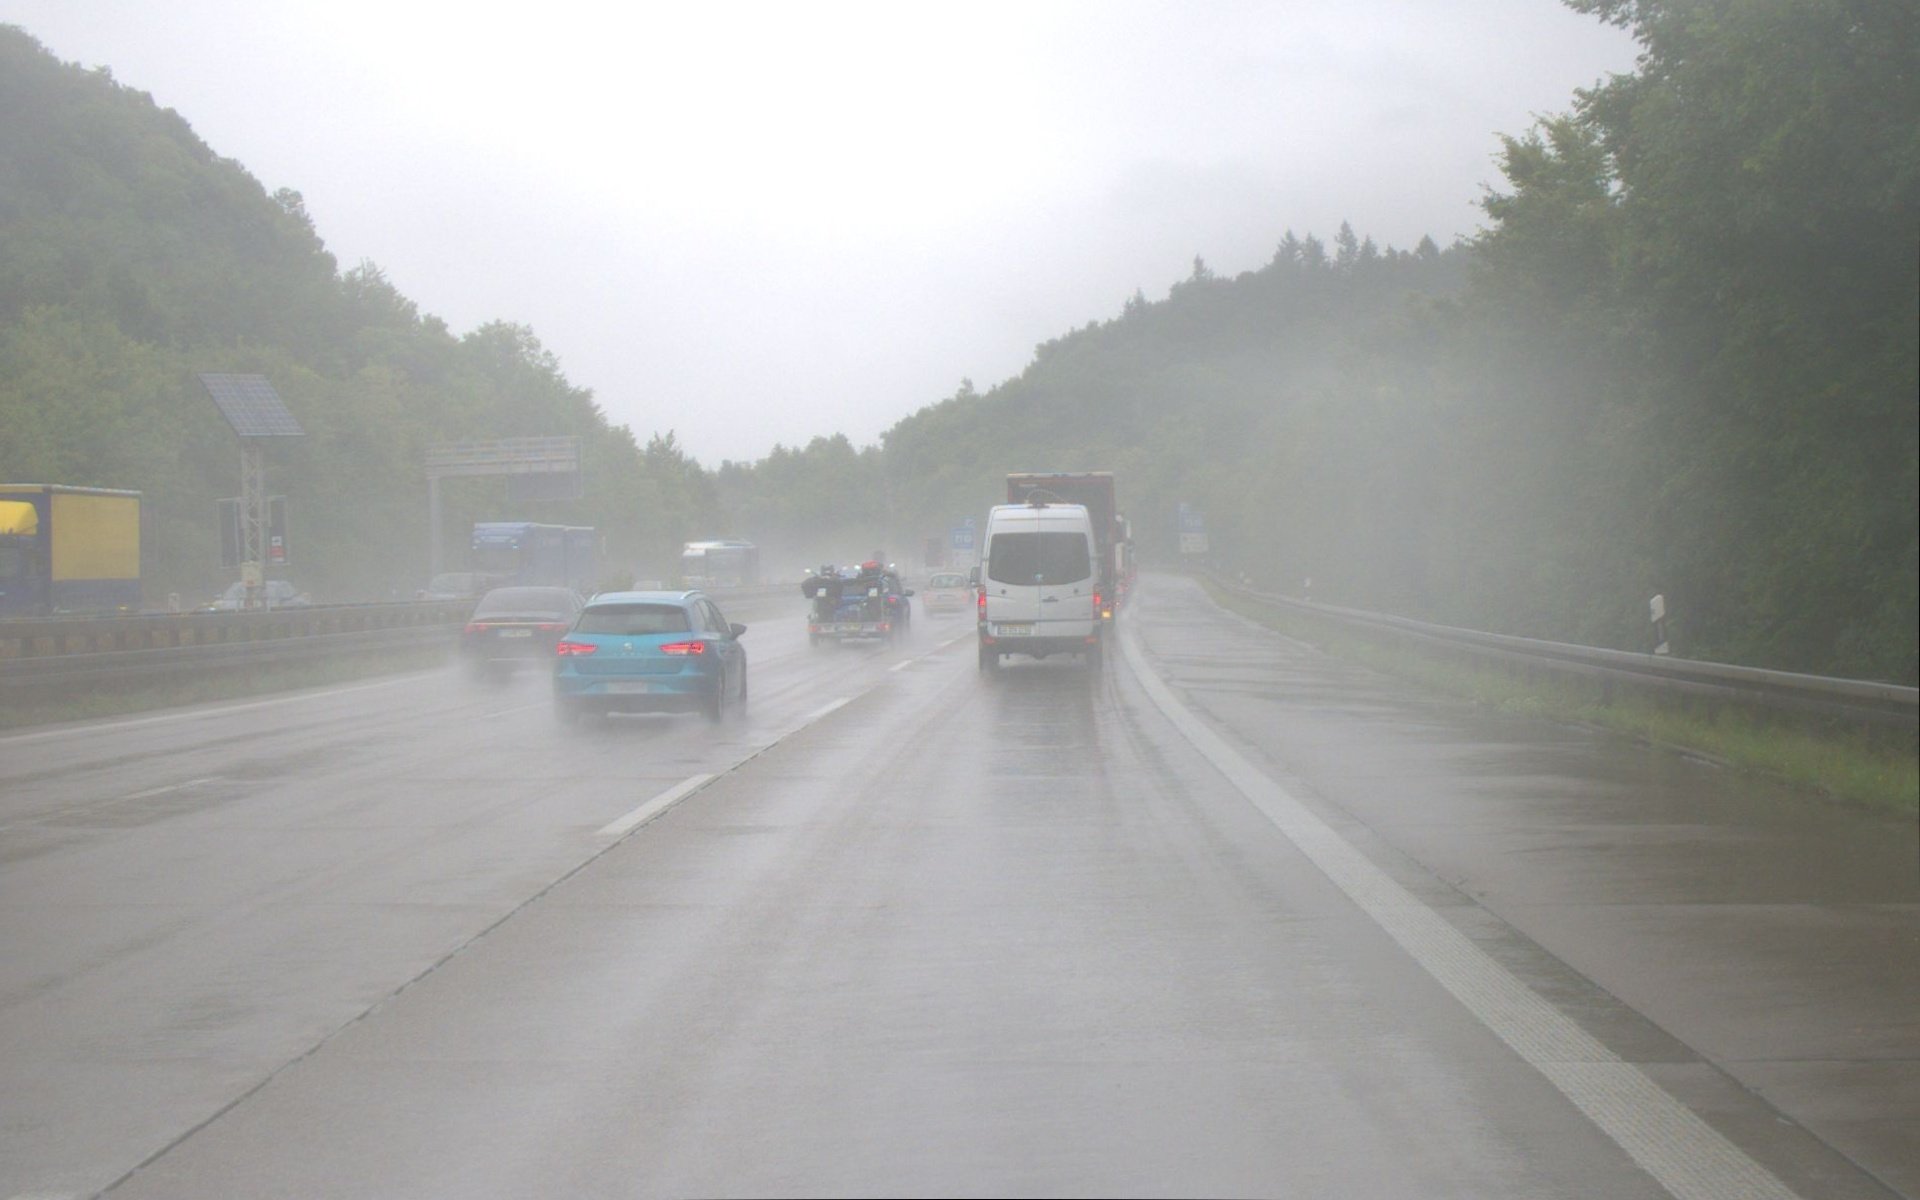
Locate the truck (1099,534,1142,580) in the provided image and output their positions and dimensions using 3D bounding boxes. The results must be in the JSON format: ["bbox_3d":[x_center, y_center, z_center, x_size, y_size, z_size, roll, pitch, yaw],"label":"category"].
[{"bbox_3d":[10.600,-2.860,228.012,2.585,2.971,9.025,0,1,1],"label":"truck"}]

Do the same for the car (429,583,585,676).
[{"bbox_3d":[-6.927,0.431,52.956,1.856,1.334,4.351,0,1,-1],"label":"car"}]

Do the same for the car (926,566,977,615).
[{"bbox_3d":[-0.273,-0.326,116.566,1.614,1.622,4.188,0,1,1],"label":"car"}]

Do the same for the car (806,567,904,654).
[{"bbox_3d":[-2.229,0.199,73.896,1.868,1.804,4.188,0,1,1],"label":"car"}]

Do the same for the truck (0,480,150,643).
[{"bbox_3d":[-22.098,-0.938,82.817,2.585,3.688,9.800,0,1,2],"label":"truck"}]

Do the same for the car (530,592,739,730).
[{"bbox_3d":[-3.408,0.608,36.683,1.856,1.334,4.351,0,1,-1],"label":"car"}]

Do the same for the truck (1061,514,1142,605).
[{"bbox_3d":[6.369,-1.747,153.041,3.091,3.896,9.052,1,0,5],"label":"truck"}]

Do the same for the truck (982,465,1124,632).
[{"bbox_3d":[2.400,-1.407,86.949,3.385,3.954,8.667,0,2,2],"label":"truck"}]

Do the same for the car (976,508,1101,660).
[{"bbox_3d":[1.277,-0.280,55.656,1.899,2.326,5.250,0,1,1],"label":"car"}]
